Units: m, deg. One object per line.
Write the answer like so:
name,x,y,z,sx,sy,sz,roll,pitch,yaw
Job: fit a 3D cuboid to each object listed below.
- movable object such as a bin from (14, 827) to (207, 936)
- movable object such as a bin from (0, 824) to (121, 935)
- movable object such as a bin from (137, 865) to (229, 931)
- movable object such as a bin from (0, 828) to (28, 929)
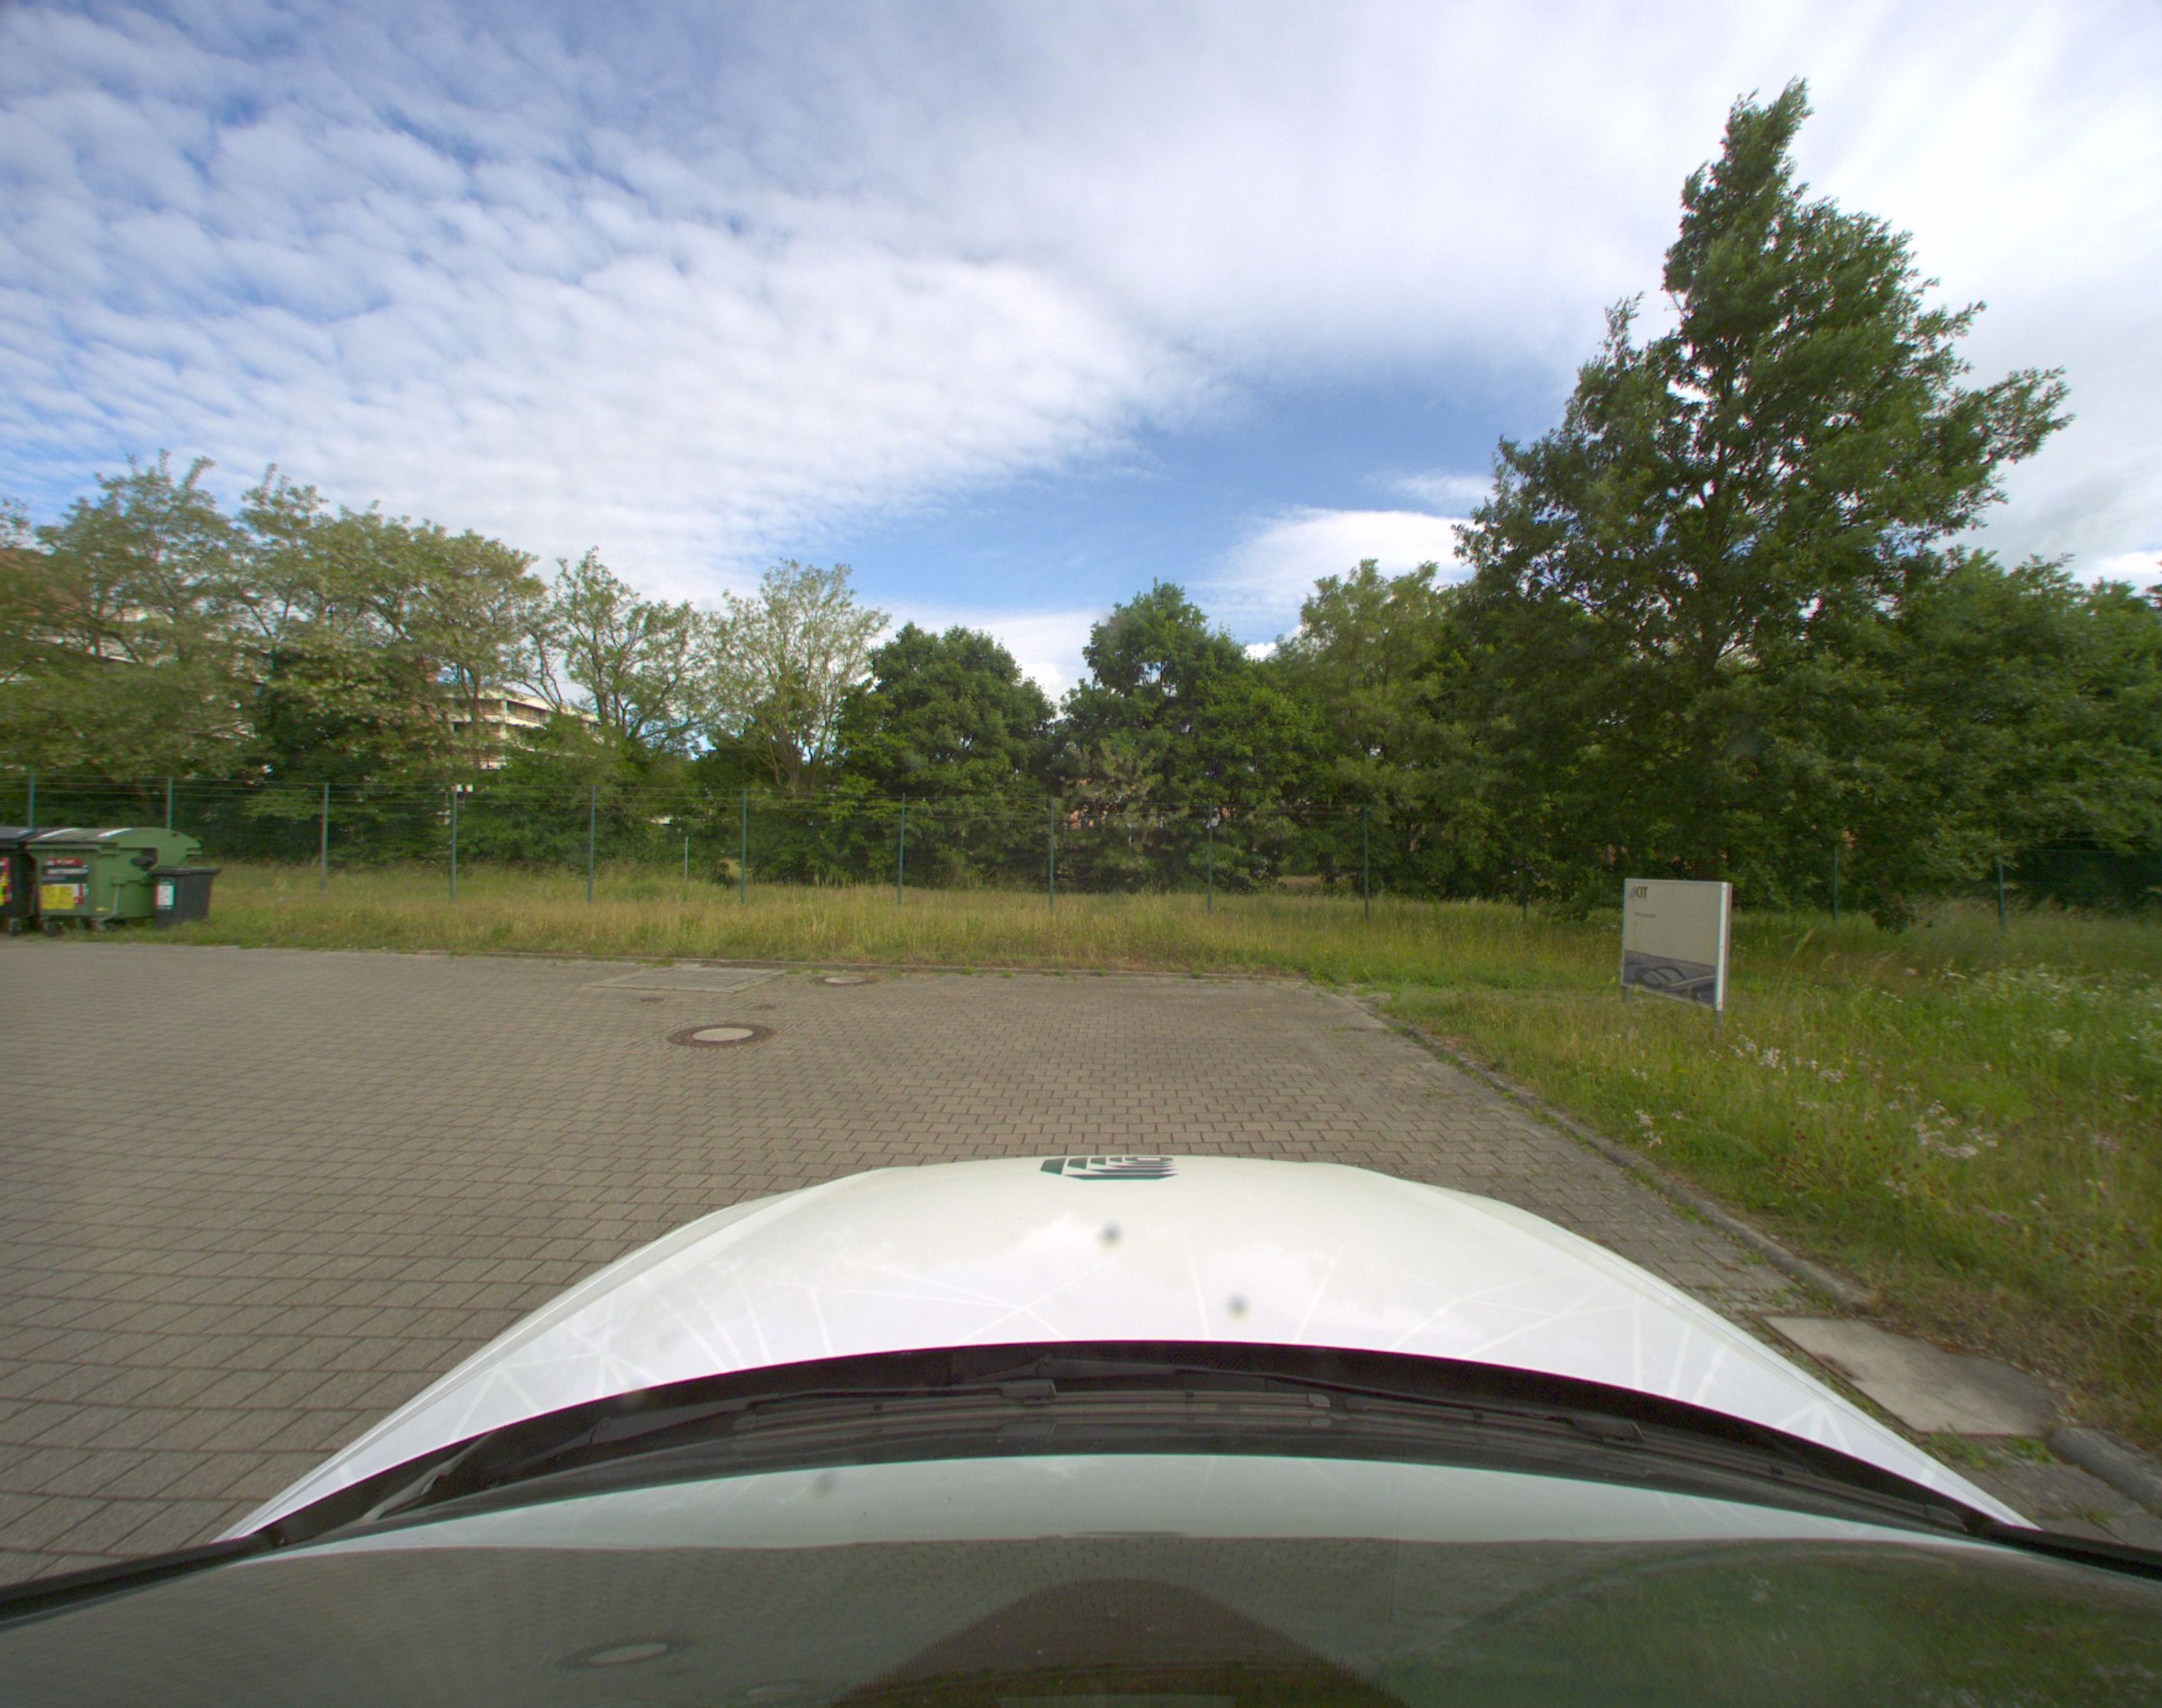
movable object such as a bin,-13.124,0.352,11.057,1.343,1.395,1.135,0,-1,11
movable object such as a bin,-14.468,0.334,11.145,1.387,1.435,1.074,0,-1,5
movable object such as a bin,-12.161,0.584,11.043,0.580,0.866,0.603,0,-1,11
movable object such as a bin,-15.793,0.336,11.147,1.374,1.406,1.074,0,-1,5
